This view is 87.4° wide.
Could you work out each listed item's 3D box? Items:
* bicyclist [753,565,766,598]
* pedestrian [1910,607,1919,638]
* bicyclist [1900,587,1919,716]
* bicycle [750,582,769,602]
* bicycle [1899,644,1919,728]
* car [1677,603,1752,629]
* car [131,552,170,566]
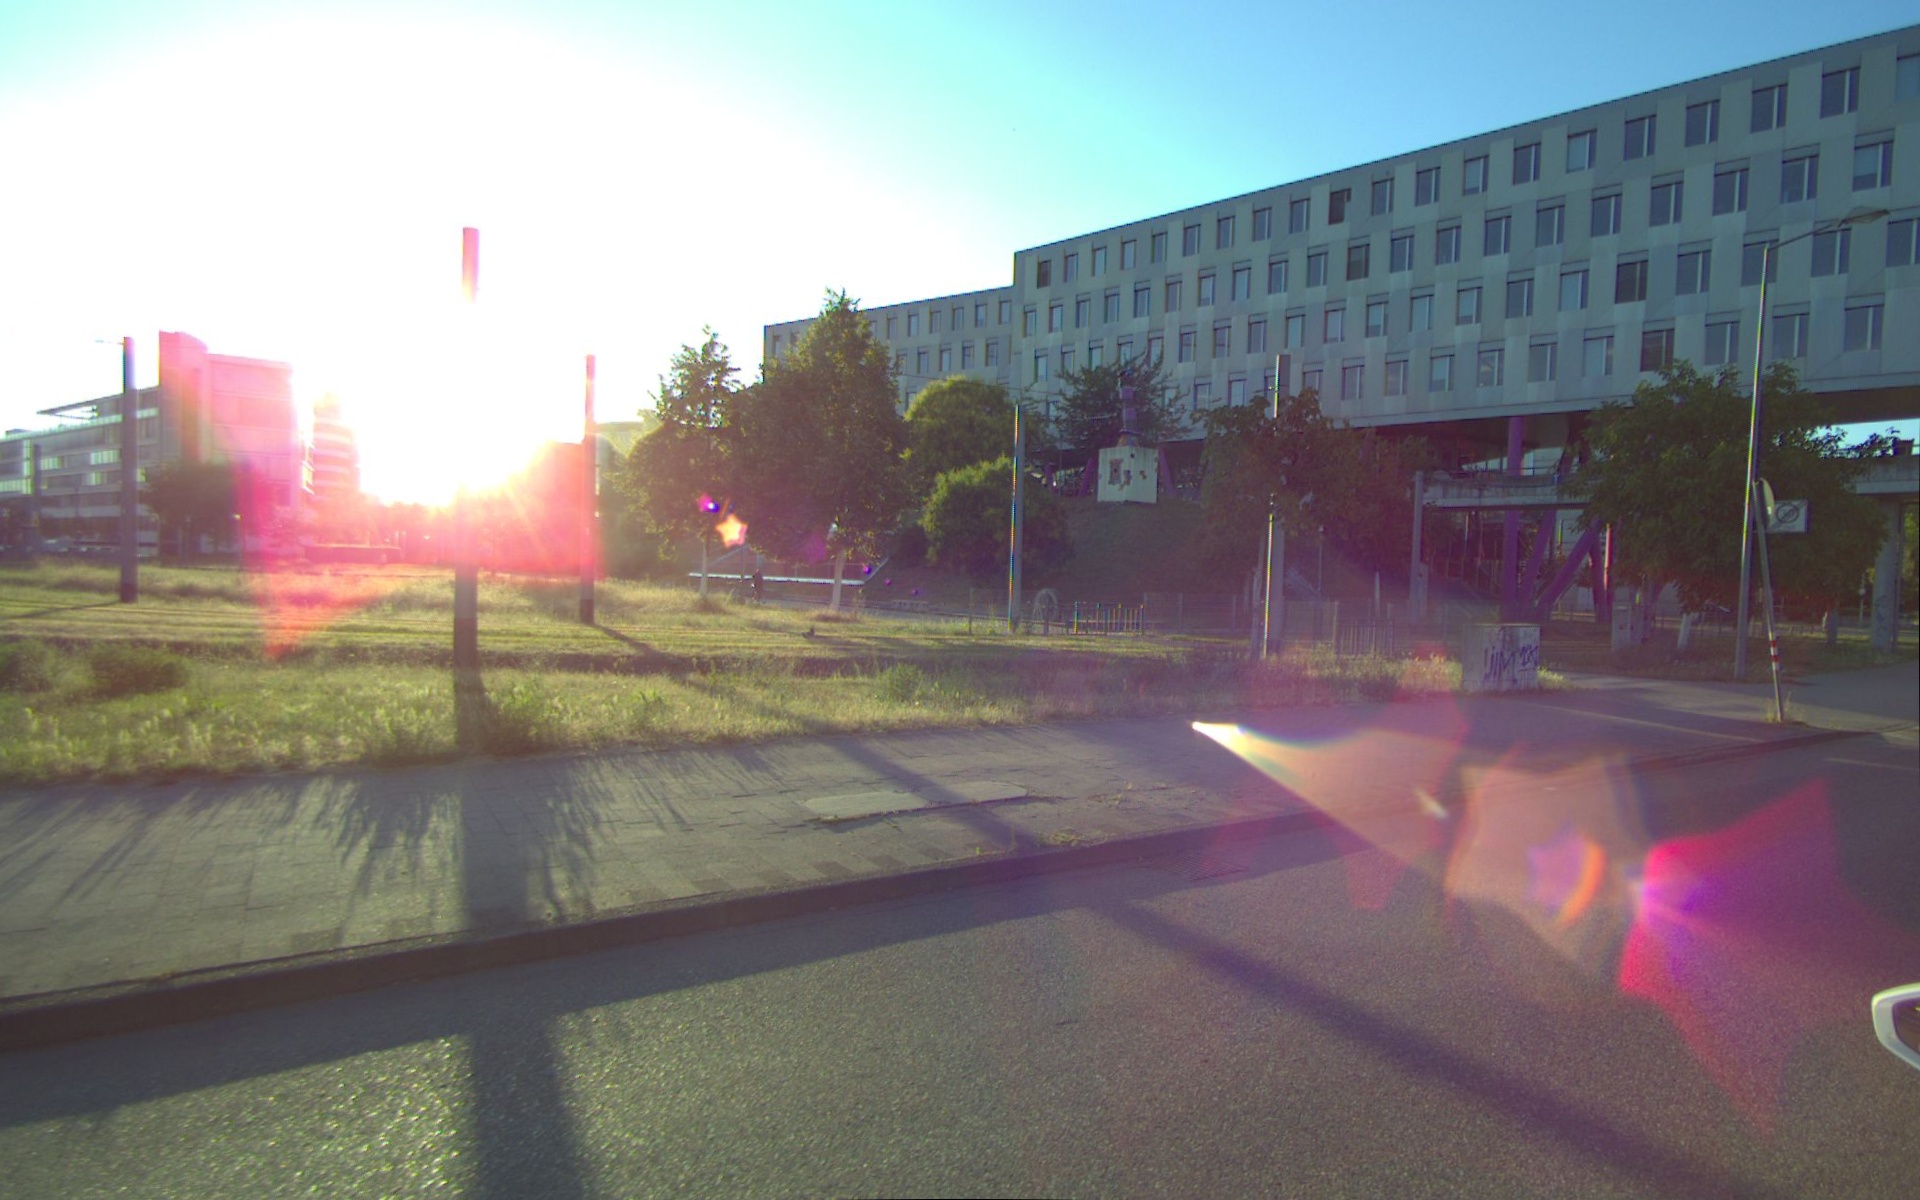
[{"bbox_3d":[-9.306,-0.847,46.674,0.420,1.515,0.509,0,2,-32],"label":"bicyclist"},{"bbox_3d":[52.462,1.220,54.720,0.700,1.646,0.685,1,2,-17],"label":"pedestrian"},{"bbox_3d":[13.080,0.678,13.287,1.024,1.685,0.612,0,2,-30],"label":"bicyclist"},{"bbox_3d":[-9.329,-0.373,46.723,0.426,0.912,1.224,0,2,-33],"label":"bicycle"},{"bbox_3d":[13.205,1.123,13.326,1.902,1.057,0.536,0,2,-30],"label":"bicycle"},{"bbox_3d":[60.505,1.251,80.604,1.926,1.841,4.436,0,2,-35],"label":"car"},{"bbox_3d":[-106.629,-5.403,132.338,3.838,1.635,1.687,0,2,-33],"label":"car"}]
